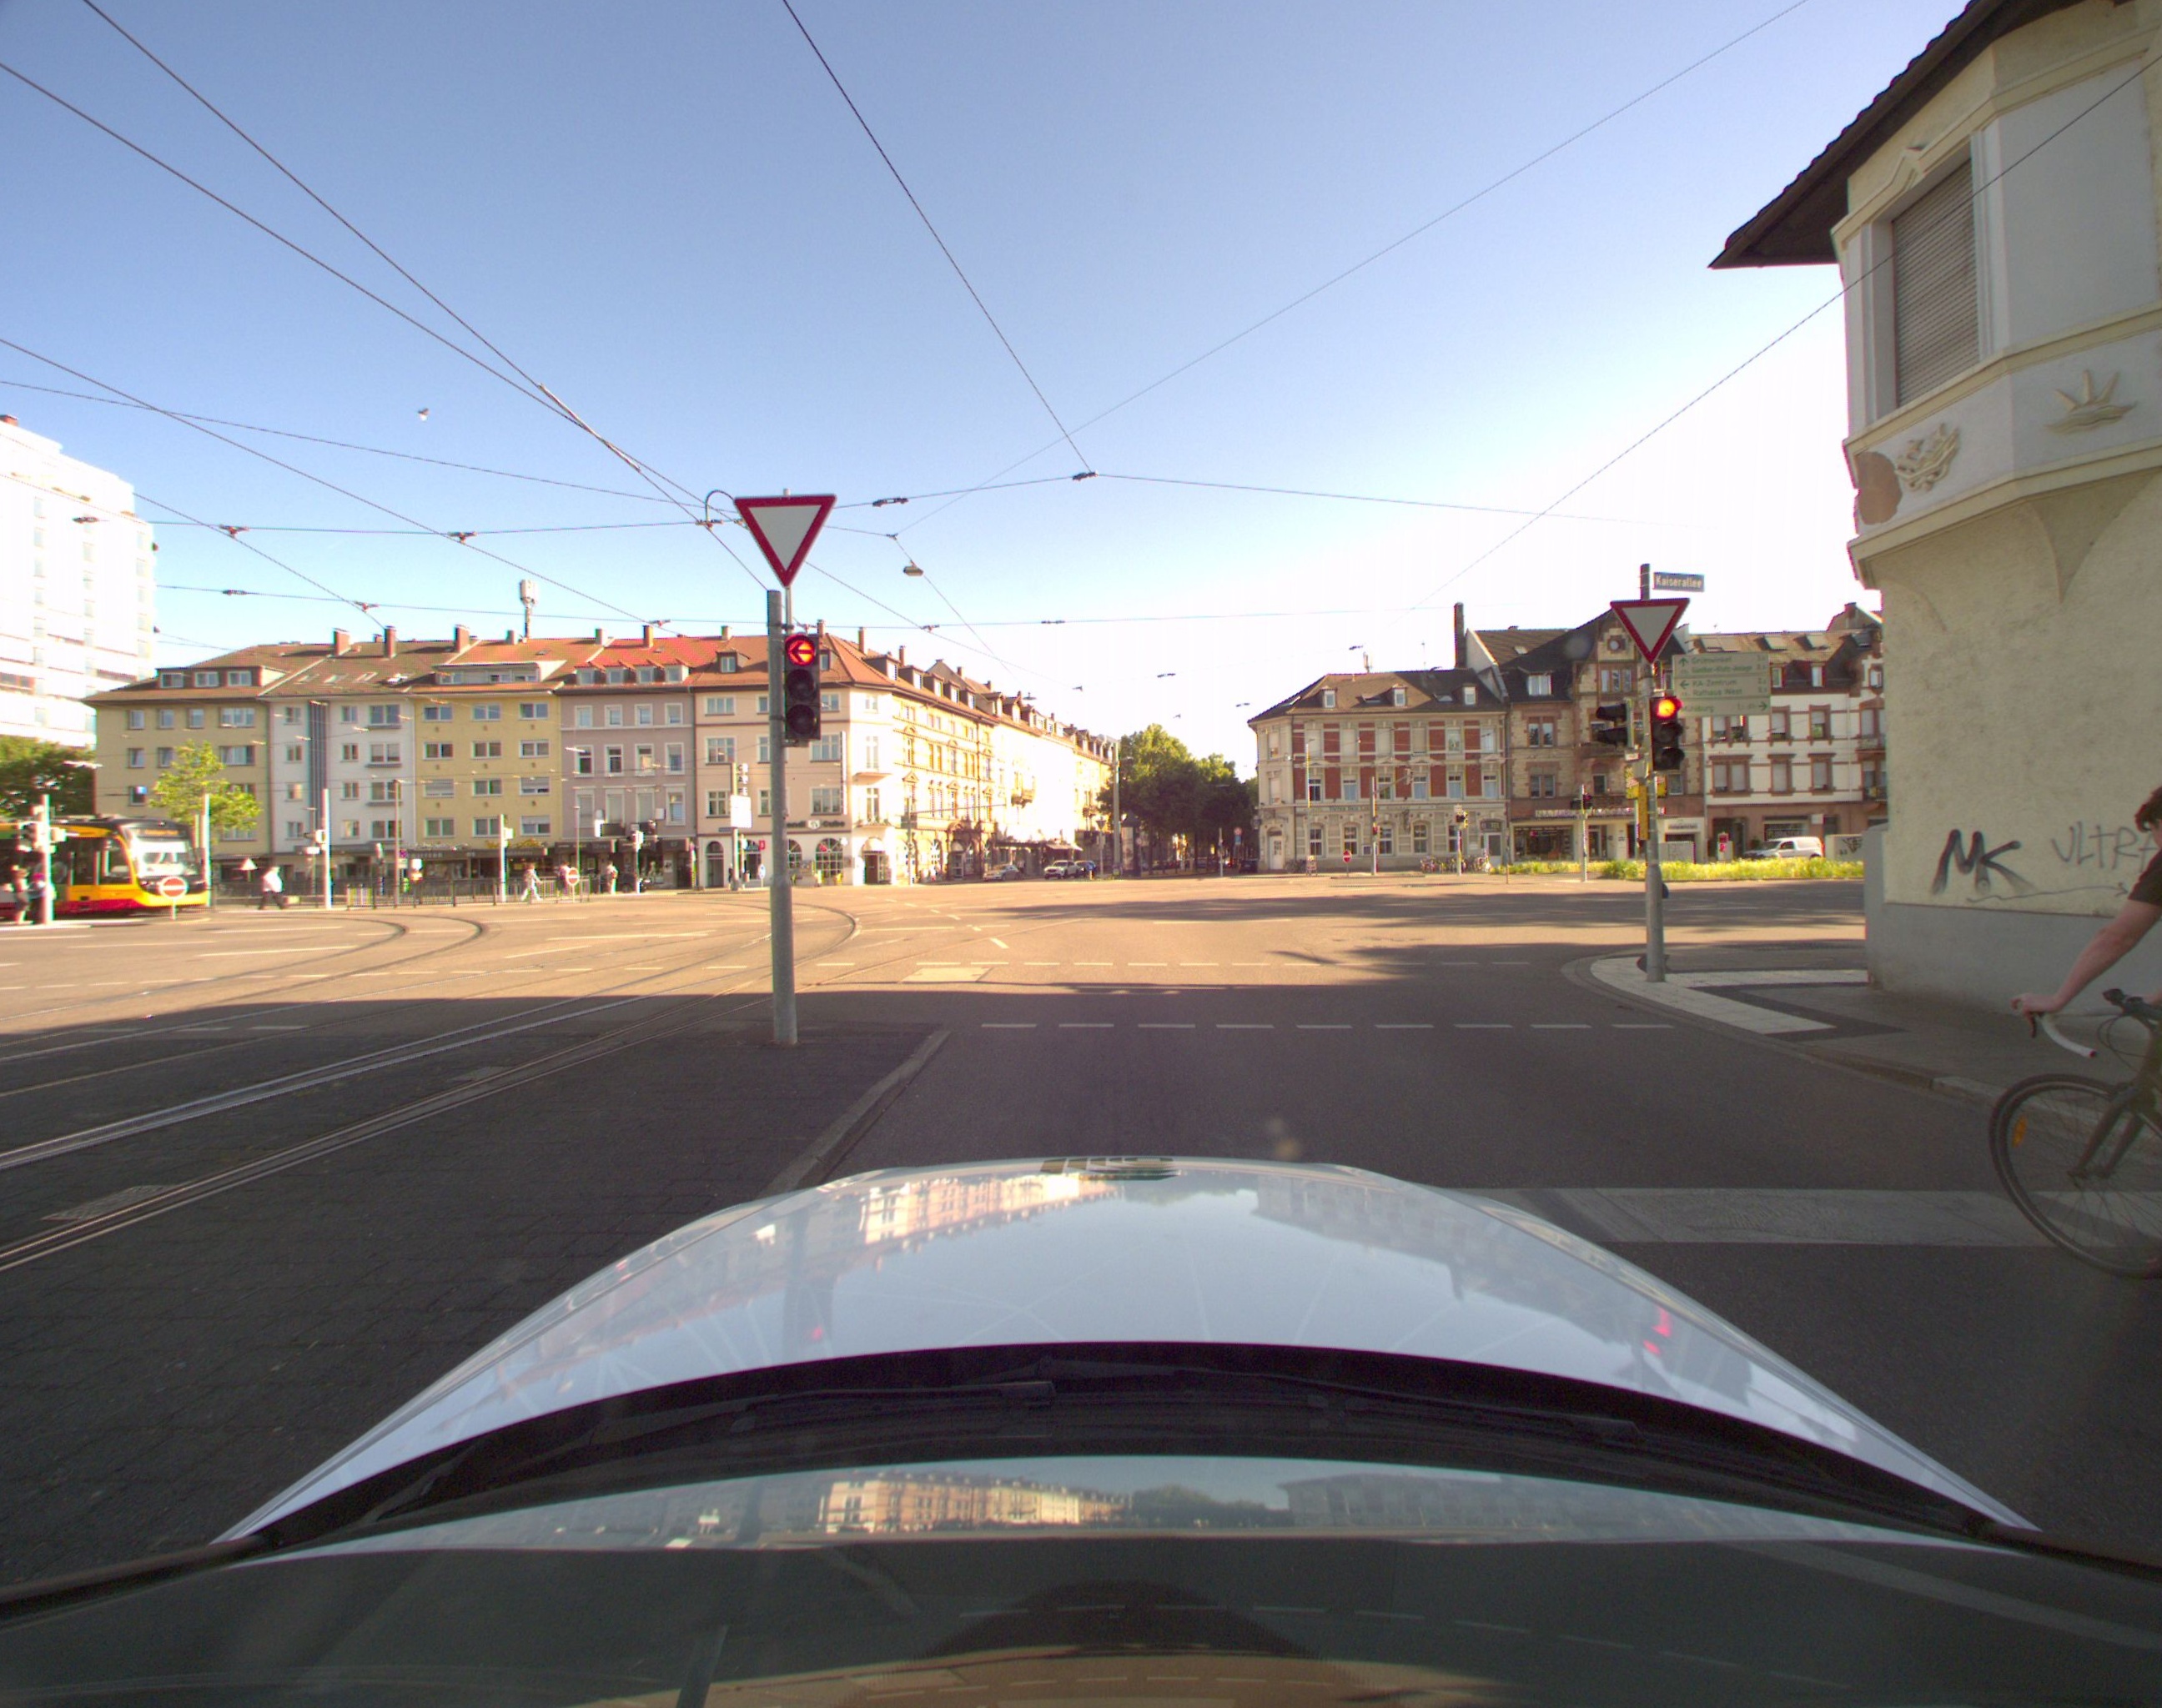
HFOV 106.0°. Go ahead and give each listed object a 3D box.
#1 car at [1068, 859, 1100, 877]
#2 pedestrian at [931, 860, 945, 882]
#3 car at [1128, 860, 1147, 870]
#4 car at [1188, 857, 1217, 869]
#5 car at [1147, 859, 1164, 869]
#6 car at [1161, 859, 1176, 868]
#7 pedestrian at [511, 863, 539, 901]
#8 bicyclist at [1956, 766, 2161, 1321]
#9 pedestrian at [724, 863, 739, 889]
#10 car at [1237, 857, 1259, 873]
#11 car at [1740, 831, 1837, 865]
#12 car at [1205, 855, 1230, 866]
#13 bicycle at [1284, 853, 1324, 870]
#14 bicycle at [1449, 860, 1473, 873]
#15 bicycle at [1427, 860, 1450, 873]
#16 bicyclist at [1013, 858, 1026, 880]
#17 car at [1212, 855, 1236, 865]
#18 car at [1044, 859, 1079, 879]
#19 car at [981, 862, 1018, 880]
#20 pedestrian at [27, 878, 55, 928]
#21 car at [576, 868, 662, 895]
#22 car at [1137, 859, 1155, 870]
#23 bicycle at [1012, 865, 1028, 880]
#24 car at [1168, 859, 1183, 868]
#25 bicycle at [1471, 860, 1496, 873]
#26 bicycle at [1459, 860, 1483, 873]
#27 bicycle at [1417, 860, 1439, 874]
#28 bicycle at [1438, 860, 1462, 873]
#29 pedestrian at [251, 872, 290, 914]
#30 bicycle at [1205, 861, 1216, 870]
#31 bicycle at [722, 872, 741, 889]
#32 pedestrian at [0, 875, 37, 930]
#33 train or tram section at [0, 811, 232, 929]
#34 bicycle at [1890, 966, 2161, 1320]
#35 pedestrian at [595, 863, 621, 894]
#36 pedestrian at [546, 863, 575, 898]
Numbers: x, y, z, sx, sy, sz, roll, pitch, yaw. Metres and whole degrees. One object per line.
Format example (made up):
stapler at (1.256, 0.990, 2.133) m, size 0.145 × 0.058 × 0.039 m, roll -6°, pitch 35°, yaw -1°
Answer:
car at (0.312, 1.238, 73.763) m, size 1.664 × 1.483 × 3.967 m, roll -2°, pitch 0°, yaw 19°
pedestrian at (-11.244, 1.348, 63.825) m, size 0.770 × 1.670 × 0.834 m, roll -1°, pitch -1°, yaw 17°
car at (7.704, 1.484, 111.316) m, size 1.664 × 1.354 × 3.608 m, roll -2°, pitch 0°, yaw 19°
car at (17.210, 1.251, 115.448) m, size 3.870 × 1.648 × 1.691 m, roll -2°, pitch 0°, yaw 19°
car at (11.249, 1.506, 122.356) m, size 1.664 × 1.354 × 3.608 m, roll -2°, pitch 0°, yaw 19°
car at (14.040, 1.496, 130.602) m, size 1.664 × 1.354 × 3.608 m, roll -2°, pitch 0°, yaw 19°
pedestrian at (-23.568, 1.165, 34.525) m, size 0.545 × 1.577 × 0.838 m, roll -1°, pitch -1°, yaw 29°
bicyclist at (3.578, 0.575, 2.494) m, size 0.570 × 1.701 × 1.117 m, roll -1°, pitch 0°, yaw 2°
pedestrian at (-22.793, 1.446, 53.117) m, size 0.580 × 1.670 × 0.753 m, roll 0°, pitch -1°, yaw 2°
car at (16.909, 1.093, 82.327) m, size 1.664 × 1.483 × 3.967 m, roll -2°, pitch 0°, yaw 19°
car at (45.447, -0.385, 52.393) m, size 4.406 × 2.013 × 2.002 m, roll -1°, pitch 0°, yaw 4°
car at (21.456, 1.053, 127.713) m, size 3.549 × 1.648 × 1.691 m, roll -2°, pitch 0°, yaw 19°
bicycle at (15.608, 0.497, 57.052) m, size 2.547 × 1.174 × 0.818 m, roll 0°, pitch -1°, yaw -1°
bicycle at (24.572, 0.806, 52.740) m, size 0.656 × 0.840 × 2.162 m, roll 0°, pitch -1°, yaw 3°
bicycle at (23.165, 0.817, 52.748) m, size 0.656 × 0.840 × 2.162 m, roll 0°, pitch -1°, yaw 3°
bicyclist at (-4.936, 1.206, 65.408) m, size 0.772 × 1.803 × 1.060 m, roll -1°, pitch -1°, yaw 16°
car at (23.362, 0.960, 133.147) m, size 3.549 × 1.648 × 1.691 m, roll -2°, pitch 0°, yaw 19°
car at (-1.600, 1.211, 67.504) m, size 1.664 × 1.483 × 3.789 m, roll -2°, pitch 0°, yaw 19°
car at (-6.705, 1.421, 67.220) m, size 1.664 × 1.354 × 3.608 m, roll -2°, pitch 0°, yaw 19°
pedestrian at (-31.911, 1.497, 24.985) m, size 0.456 × 1.505 × 0.485 m, roll -1°, pitch 1°, yaw 38°
car at (-30.361, 1.787, 53.631) m, size 4.347 × 1.711 × 2.308 m, roll 0°, pitch -1°, yaw 4°
car at (9.179, 1.487, 115.440) m, size 1.664 × 1.354 × 3.608 m, roll -2°, pitch 0°, yaw 19°
bicycle at (-4.890, 1.481, 65.528) m, size 0.696 × 1.118 × 1.642 m, roll -1°, pitch -1°, yaw 16°
car at (15.727, 1.515, 135.595) m, size 1.664 × 1.354 × 3.608 m, roll -2°, pitch 0°, yaw 19°
bicycle at (26.012, 0.795, 52.709) m, size 0.656 × 0.840 × 2.162 m, roll 0°, pitch -1°, yaw 3°
bicycle at (25.209, 0.801, 52.695) m, size 0.656 × 0.840 × 2.162 m, roll 0°, pitch -1°, yaw 3°
bicycle at (22.430, 0.822, 52.689) m, size 0.656 × 0.840 × 2.162 m, roll 0°, pitch -1°, yaw 3°
bicycle at (23.889, 0.811, 52.733) m, size 0.656 × 0.840 × 2.162 m, roll 0°, pitch -1°, yaw 3°
pedestrian at (-30.920, 1.483, 31.079) m, size 0.657 × 1.577 × 0.889 m, roll -1°, pitch -1°, yaw 29°
bicycle at (15.775, 1.387, 99.273) m, size 0.636 × 1.021 × 1.839 m, roll 0°, pitch -1°, yaw -12°
bicycle at (-22.791, 1.738, 53.096) m, size 0.570 × 1.077 × 1.497 m, roll 0°, pitch -1°, yaw 2°
pedestrian at (-32.917, 1.497, 25.234) m, size 0.456 × 1.644 × 0.643 m, roll -1°, pitch 1°, yaw 38°
train or tram section at (-37.846, 0.621, 28.614) m, size 12.964 × 3.814 × 2.942 m, roll -1°, pitch 0°, yaw 1°
bicycle at (3.602, 0.957, 2.502) m, size 0.516 × 0.970 × 1.750 m, roll -1°, pitch 0°, yaw 2°
pedestrian at (-24.688, 1.285, 42.512) m, size 0.842 × 1.577 × 0.836 m, roll -1°, pitch -1°, yaw 11°
pedestrian at (-23.812, 1.185, 37.256) m, size 0.720 × 1.577 × 0.836 m, roll -1°, pitch -1°, yaw 11°
